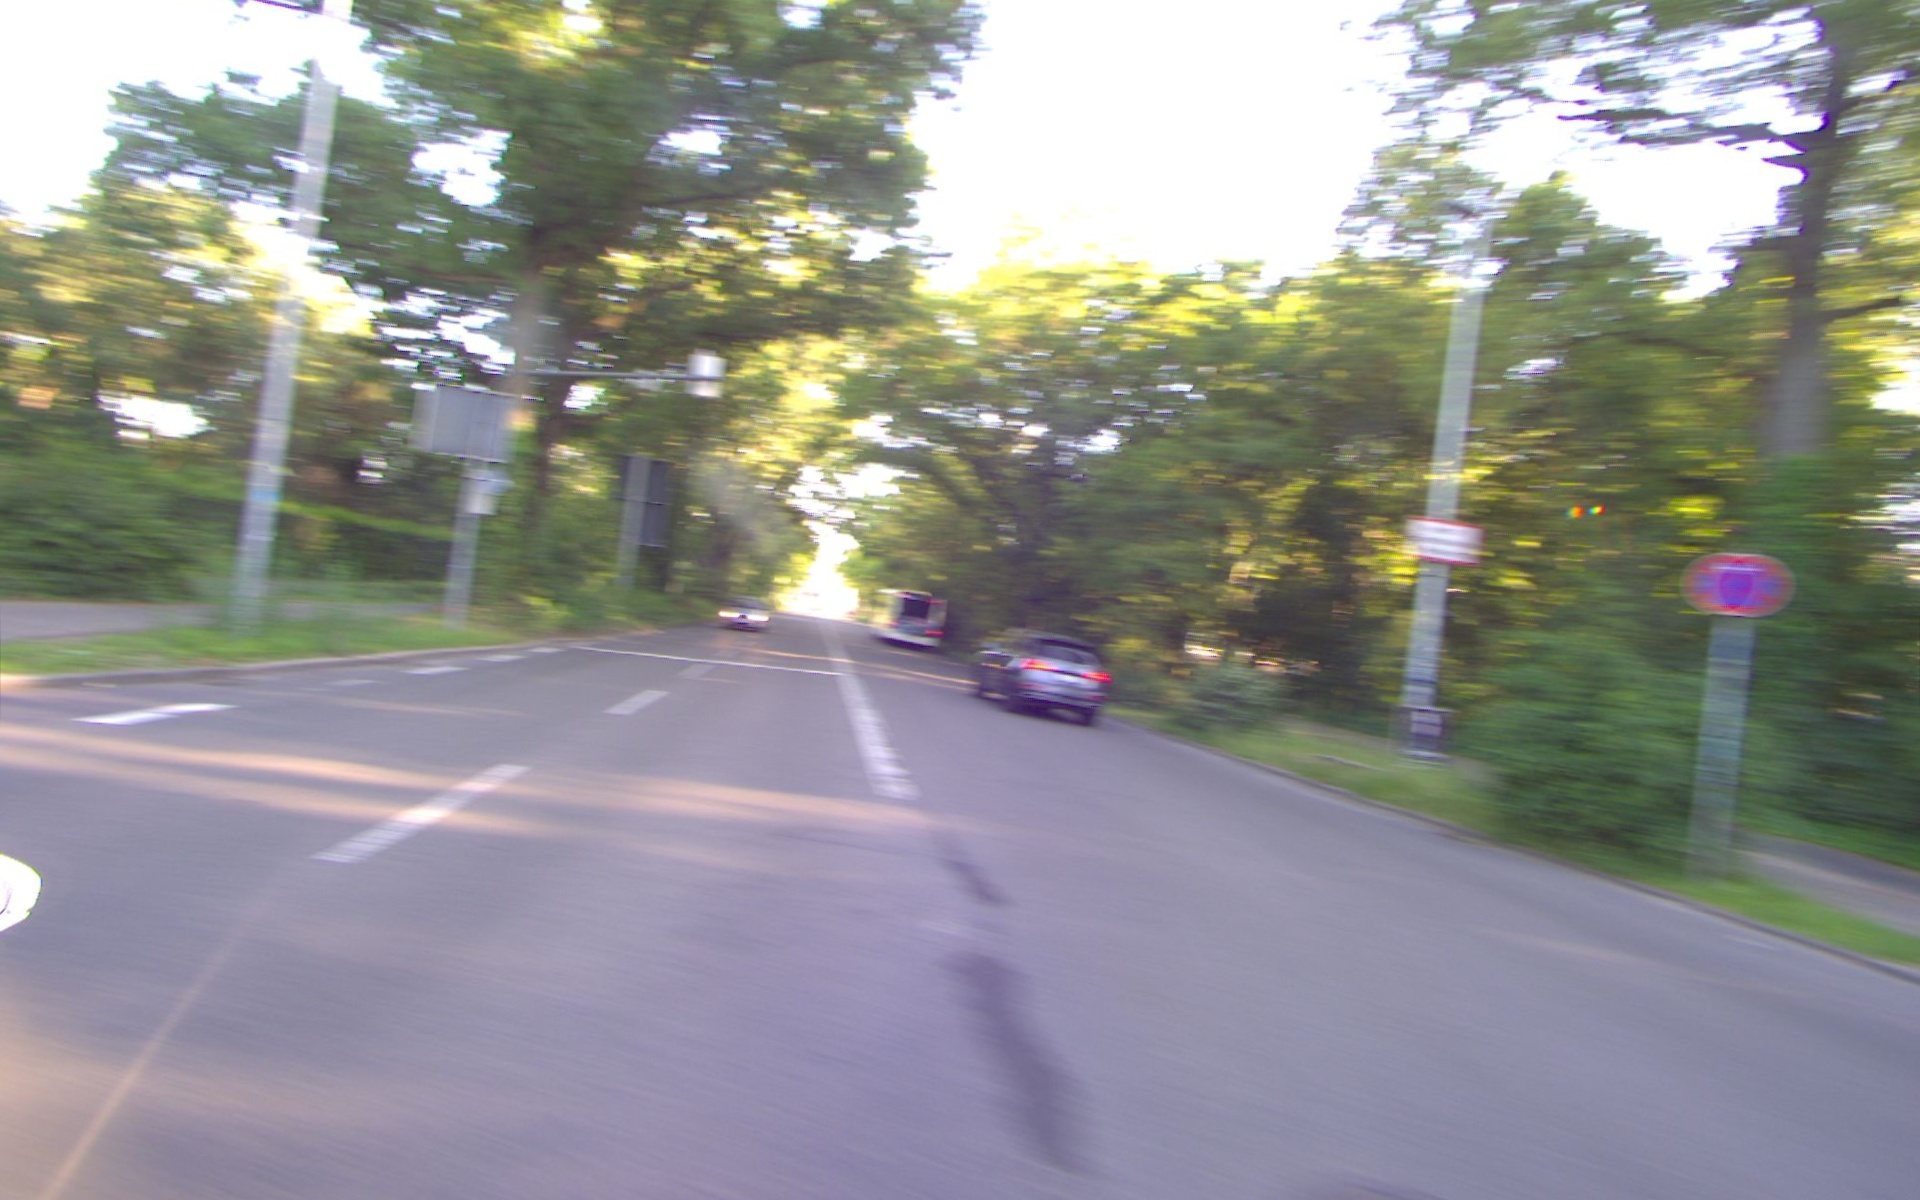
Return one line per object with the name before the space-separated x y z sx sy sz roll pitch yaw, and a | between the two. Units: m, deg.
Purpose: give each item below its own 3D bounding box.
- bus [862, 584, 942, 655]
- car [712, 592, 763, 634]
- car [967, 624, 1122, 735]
bus | -3.534 1.045 57.323 2.973 3.121 12.255 11 -2 -8
car | -9.828 0.552 44.739 1.781 1.599 4.314 6 -1 -8
car | 1.574 1.512 20.612 1.963 1.624 4.357 11 -2 -9
